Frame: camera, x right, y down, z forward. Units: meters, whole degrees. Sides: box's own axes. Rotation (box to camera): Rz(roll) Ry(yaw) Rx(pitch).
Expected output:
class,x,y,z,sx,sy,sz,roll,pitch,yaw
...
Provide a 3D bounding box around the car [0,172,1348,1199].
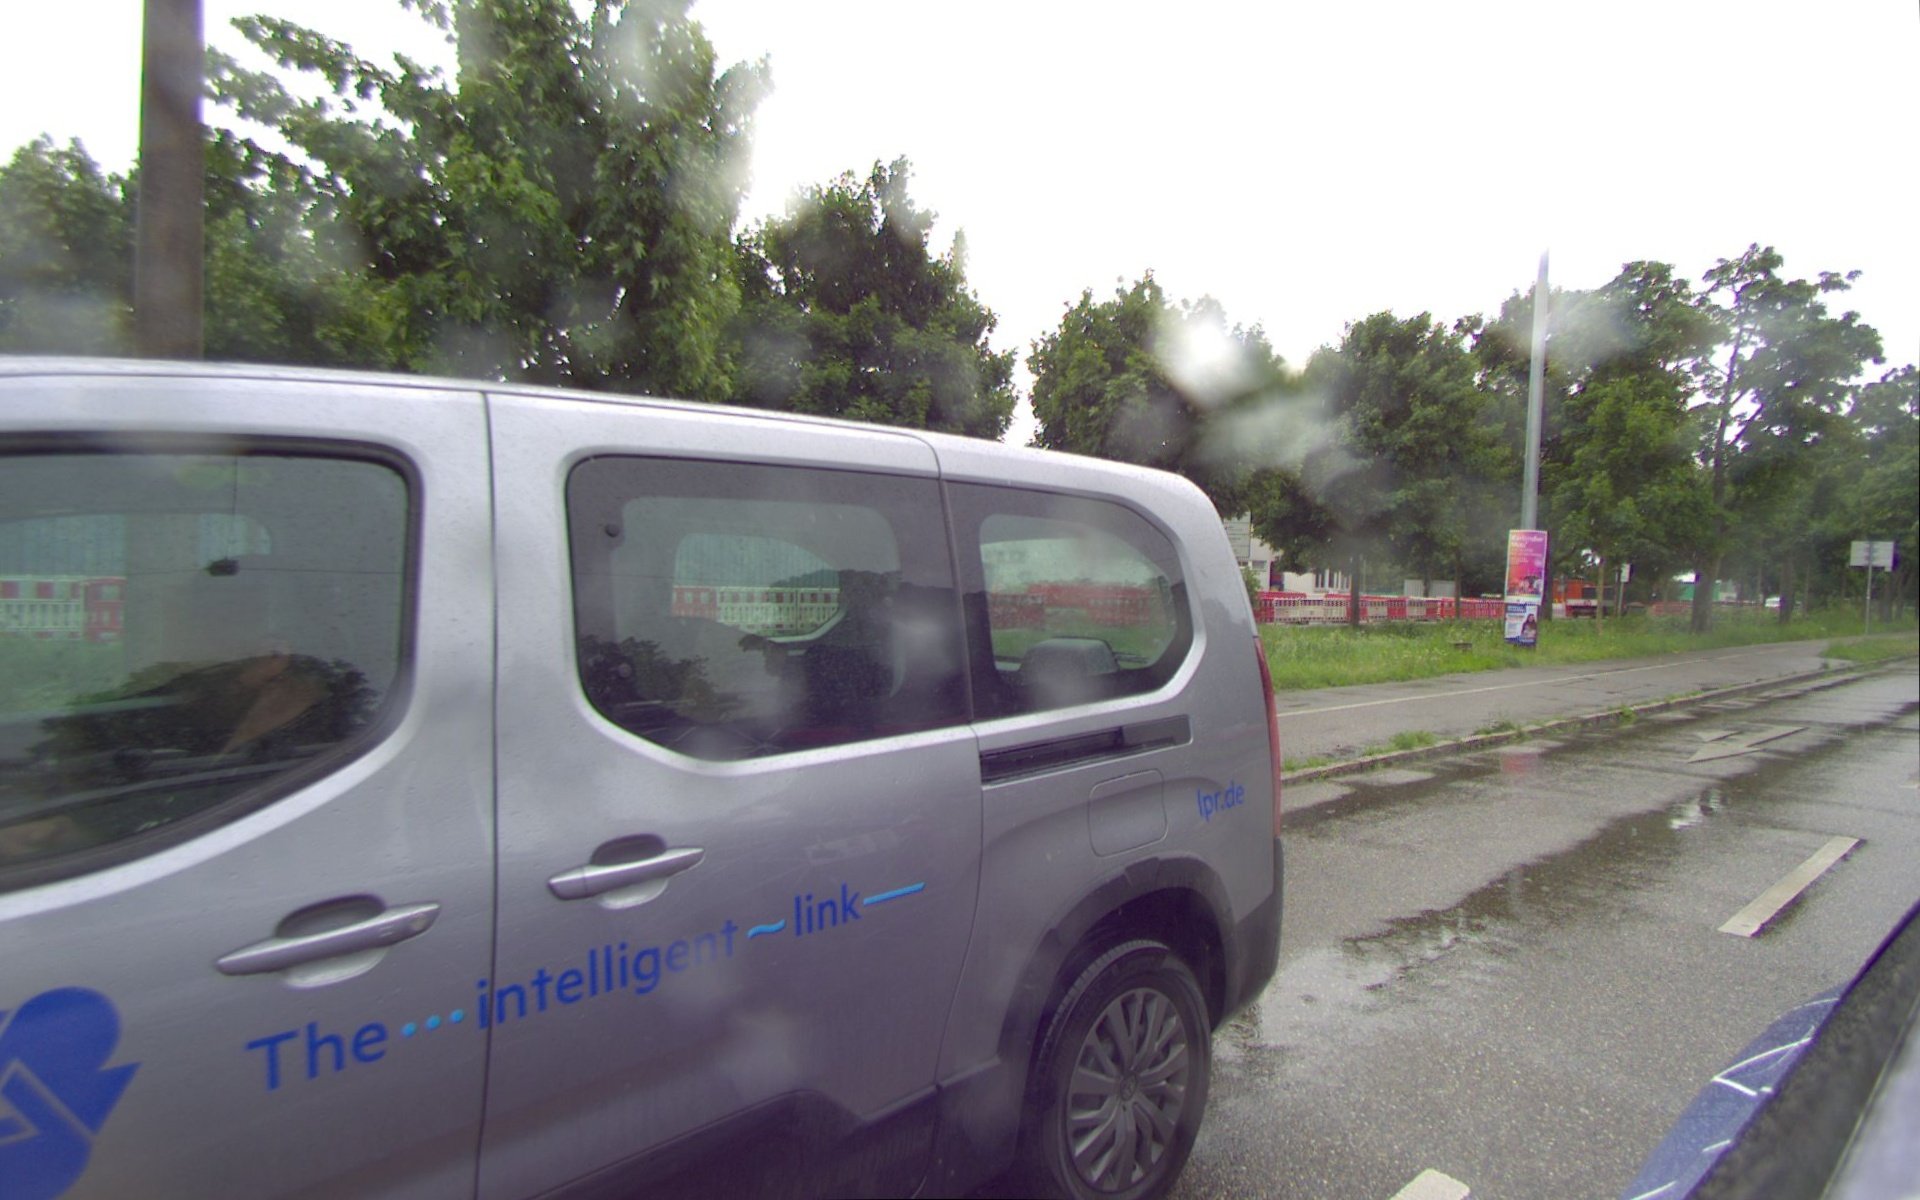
class,x,y,z,sx,sy,sz,roll,pitch,yaw
car,-1.264,0.479,2.034,4.483,1.818,1.996,0,1,-42

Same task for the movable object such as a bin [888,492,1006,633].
class,x,y,z,sx,sy,sz,roll,pitch,yaw
movable object such as a bin,-0.407,-1.210,33.989,3.839,4.482,1.557,0,0,-40

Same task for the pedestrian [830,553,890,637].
class,x,y,z,sx,sy,sz,roll,pitch,yaw
pedestrian,-2.393,-0.126,24.197,1.192,1.960,0.813,0,0,-42

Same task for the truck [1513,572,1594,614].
class,x,y,z,sx,sy,sz,roll,pitch,yaw
truck,44.340,-0.549,75.498,8.600,2.935,2.808,-1,0,-42

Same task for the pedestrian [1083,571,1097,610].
class,x,y,z,sx,sy,sz,roll,pitch,yaw
pedestrian,6.144,-0.446,47.815,0.487,1.864,0.363,1,1,-40
